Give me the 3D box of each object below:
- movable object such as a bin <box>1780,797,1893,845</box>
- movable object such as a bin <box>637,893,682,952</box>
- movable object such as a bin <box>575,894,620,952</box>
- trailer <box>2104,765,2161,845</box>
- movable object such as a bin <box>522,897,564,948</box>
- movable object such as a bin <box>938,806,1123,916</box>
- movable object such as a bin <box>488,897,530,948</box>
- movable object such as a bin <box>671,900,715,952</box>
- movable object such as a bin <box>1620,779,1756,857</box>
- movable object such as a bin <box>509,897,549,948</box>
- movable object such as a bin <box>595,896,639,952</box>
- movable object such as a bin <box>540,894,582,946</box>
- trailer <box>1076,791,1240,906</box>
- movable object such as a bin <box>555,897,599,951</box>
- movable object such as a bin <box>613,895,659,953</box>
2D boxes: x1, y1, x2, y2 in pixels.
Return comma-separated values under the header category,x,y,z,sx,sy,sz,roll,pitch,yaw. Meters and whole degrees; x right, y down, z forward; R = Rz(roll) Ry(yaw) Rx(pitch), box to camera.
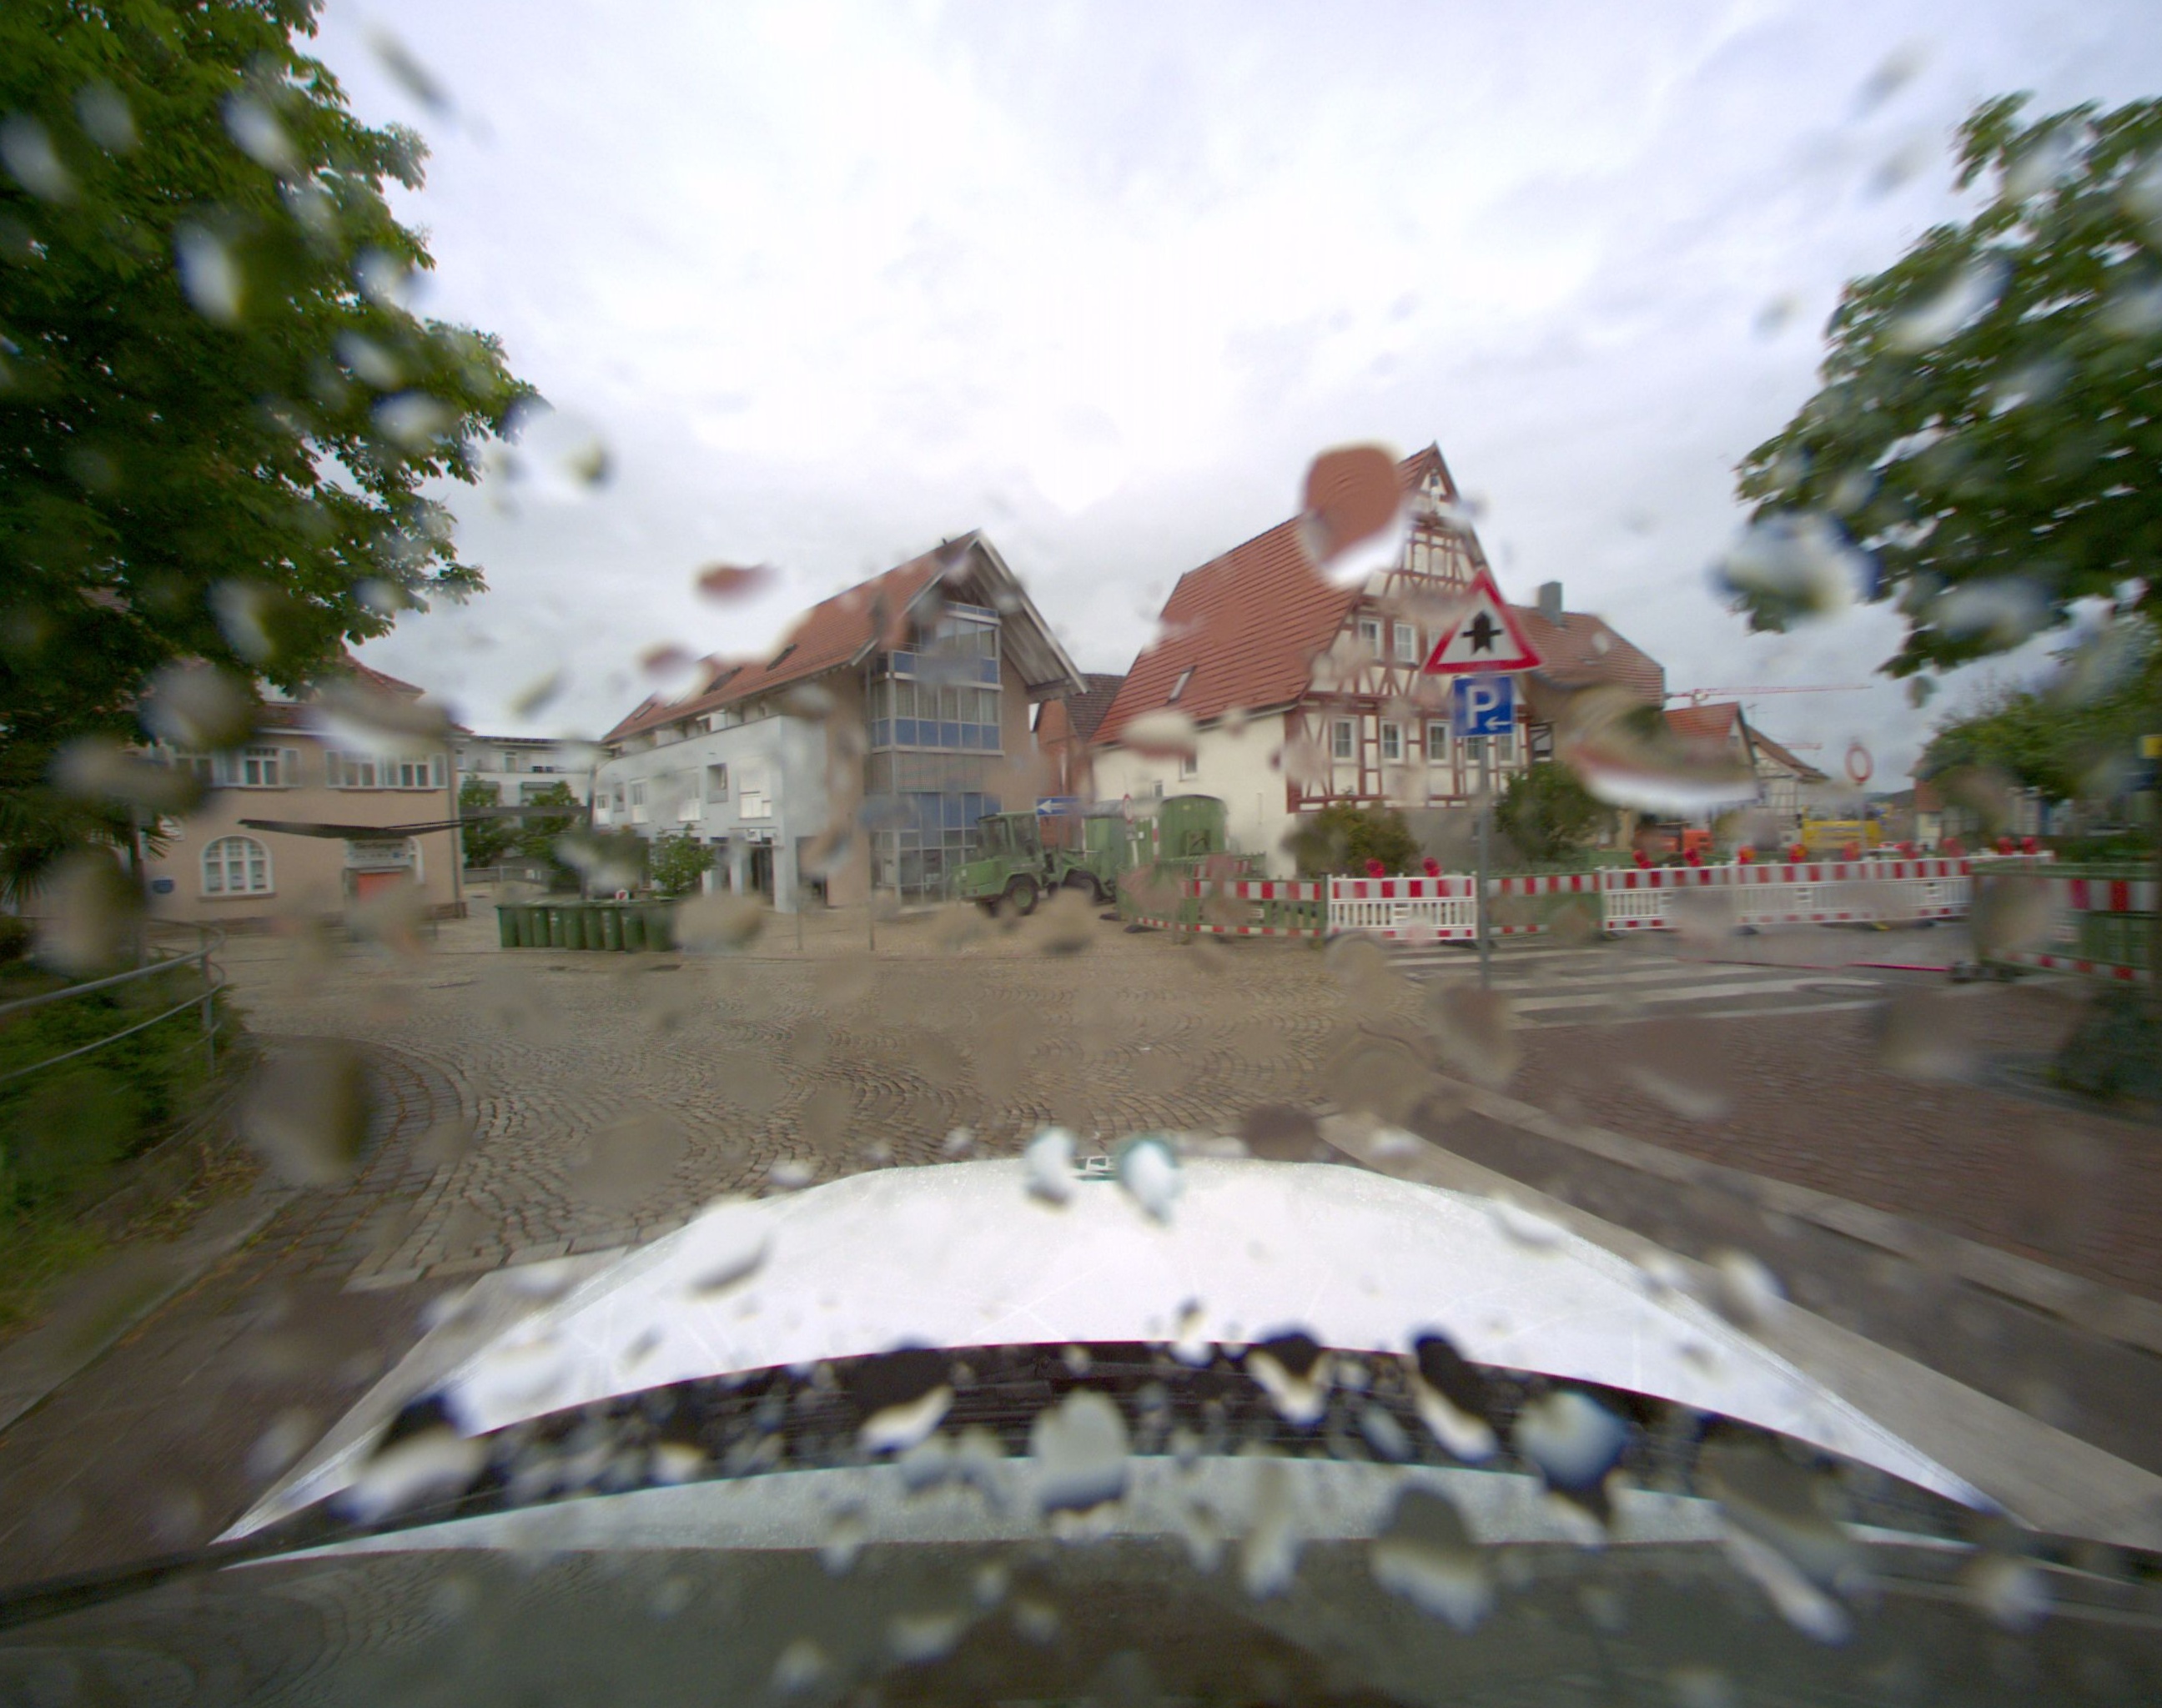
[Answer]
category,x,y,z,sx,sy,sz,roll,pitch,yaw
movable object such as a bin,33.612,-1.440,36.253,3.498,2.013,3.373,-1,2,-42
movable object such as a bin,-8.618,1.395,16.653,0.544,1.126,0.565,-3,0,28
movable object such as a bin,-10.359,1.471,17.457,0.544,1.159,0.565,-3,0,28
trailer,41.930,-1.768,29.521,5.727,2.947,2.012,2,2,42
movable object such as a bin,-12.436,1.581,18.824,0.544,1.126,0.565,-3,0,28
movable object such as a bin,-1.273,0.116,21.146,4.305,2.554,1.893,-3,0,-31
movable object such as a bin,-13.542,1.614,19.285,0.533,1.126,0.541,-3,0,18
movable object such as a bin,-7.802,1.442,16.386,0.493,0.991,0.564,-3,0,20
movable object such as a bin,17.347,-0.958,23.228,4.016,2.014,1.891,-1,-1,-35
movable object such as a bin,-12.946,1.609,19.108,0.533,1.126,0.542,-3,0,28
movable object such as a bin,-9.791,1.468,17.185,0.535,1.126,0.565,-3,0,28
movable object such as a bin,-11.876,1.503,18.600,0.544,1.126,0.565,-3,0,28
trailer,1.997,-0.199,22.620,2.498,2.836,4.593,0,2,-26
movable object such as a bin,-11.003,1.523,17.787,0.544,1.126,0.565,-3,0,28
movable object such as a bin,-9.187,1.437,16.826,0.544,1.126,0.565,-3,0,28
